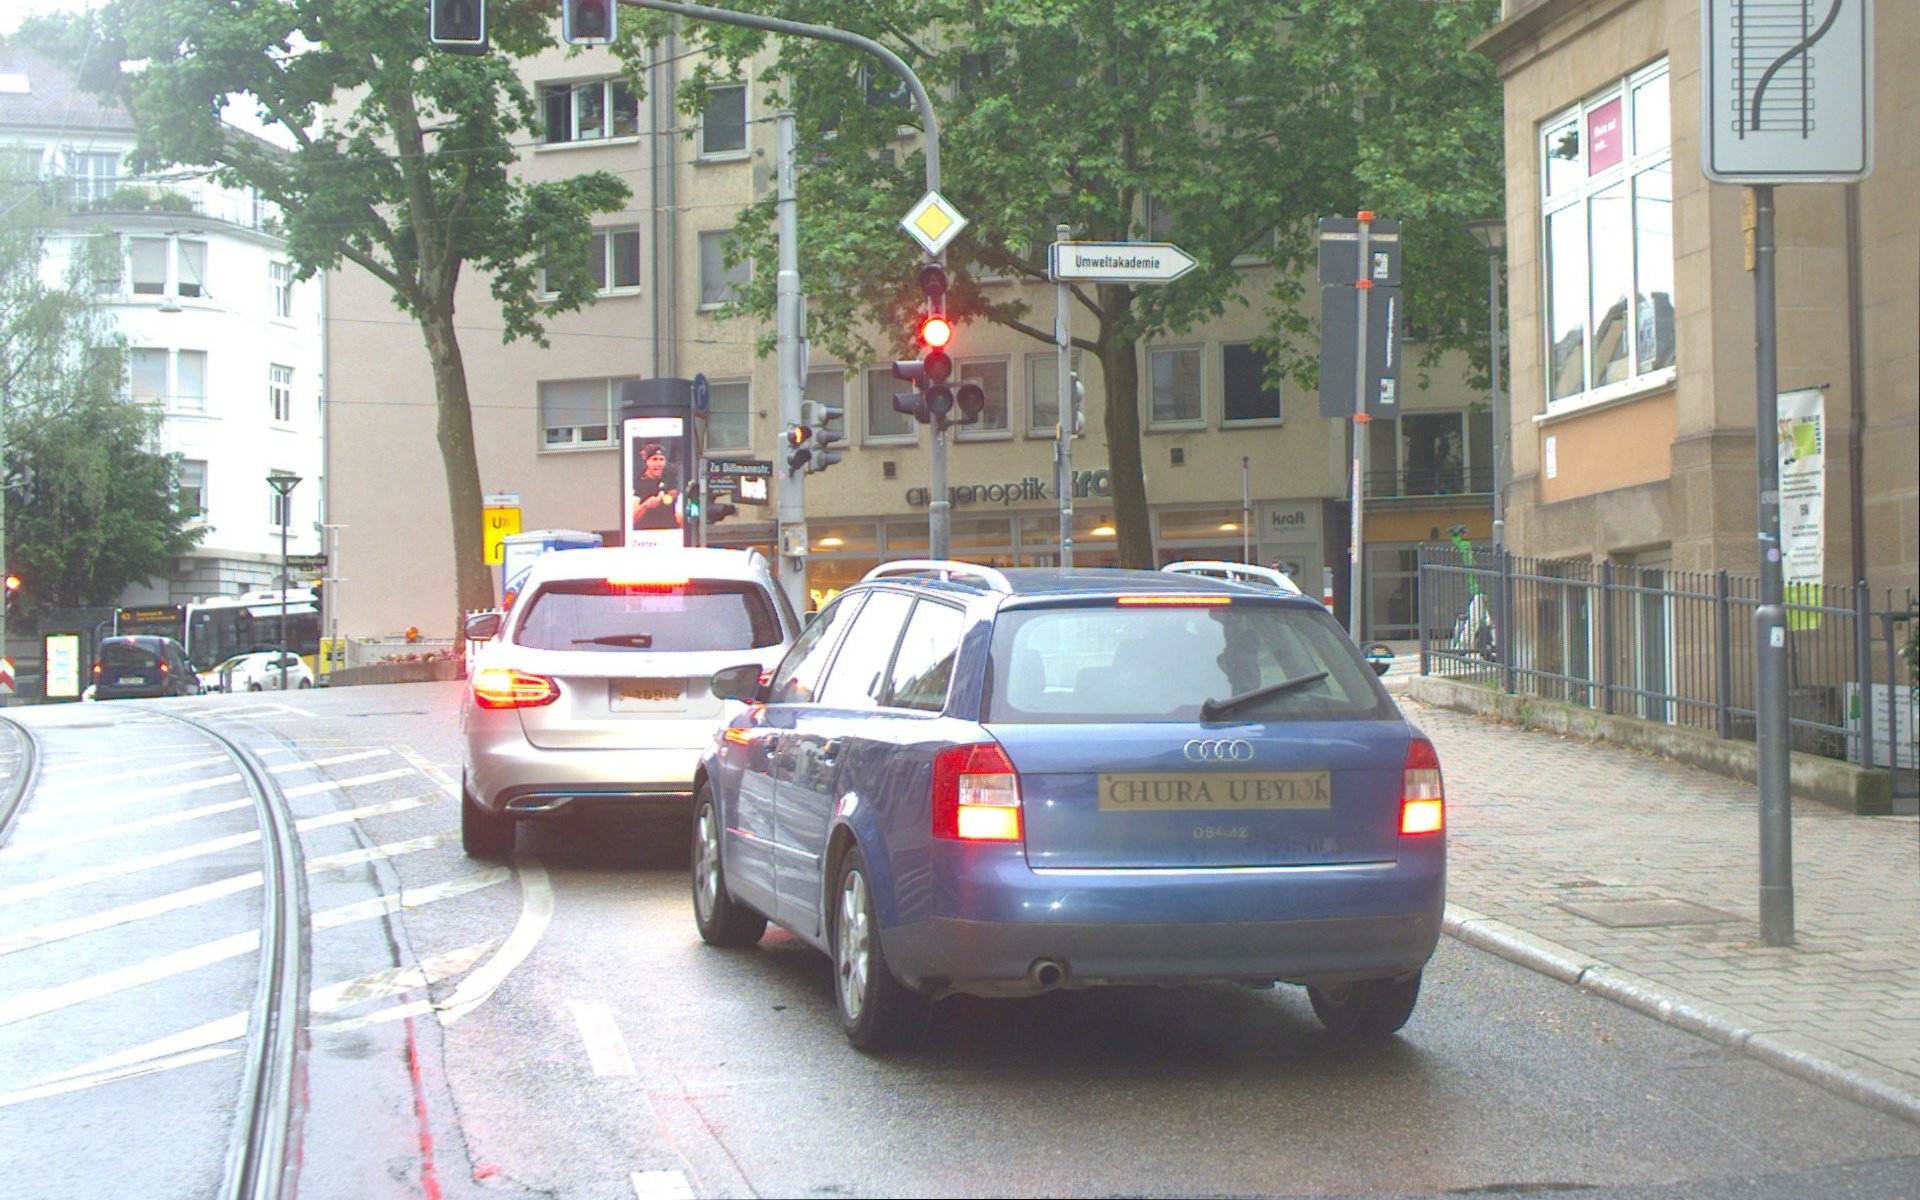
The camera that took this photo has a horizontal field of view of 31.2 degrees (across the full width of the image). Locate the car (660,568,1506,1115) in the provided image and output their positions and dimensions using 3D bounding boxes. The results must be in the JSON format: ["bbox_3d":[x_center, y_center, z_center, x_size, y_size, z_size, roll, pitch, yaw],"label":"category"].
[{"bbox_3d":[0.190,0.628,11.347,1.710,1.410,4.037,0,1,-14],"label":"car"}]

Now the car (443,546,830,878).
[{"bbox_3d":[-1.607,0.474,17.102,1.710,1.451,3.553,0,1,-5],"label":"car"}]

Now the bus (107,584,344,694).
[{"bbox_3d":[-21.184,1.064,99.738,2.856,2.851,8.727,-1,1,16],"label":"bus"}]

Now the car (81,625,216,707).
[{"bbox_3d":[-17.137,1.374,72.771,1.794,1.505,4.000,-3,1,1],"label":"car"}]

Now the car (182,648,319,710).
[{"bbox_3d":[-19.246,2.138,93.446,1.796,1.505,3.996,-1,1,20],"label":"car"}]

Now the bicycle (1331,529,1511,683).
[{"bbox_3d":[3.720,0.040,27.775,1.300,1.169,0.526,-3,1,-10],"label":"bicycle"}]
